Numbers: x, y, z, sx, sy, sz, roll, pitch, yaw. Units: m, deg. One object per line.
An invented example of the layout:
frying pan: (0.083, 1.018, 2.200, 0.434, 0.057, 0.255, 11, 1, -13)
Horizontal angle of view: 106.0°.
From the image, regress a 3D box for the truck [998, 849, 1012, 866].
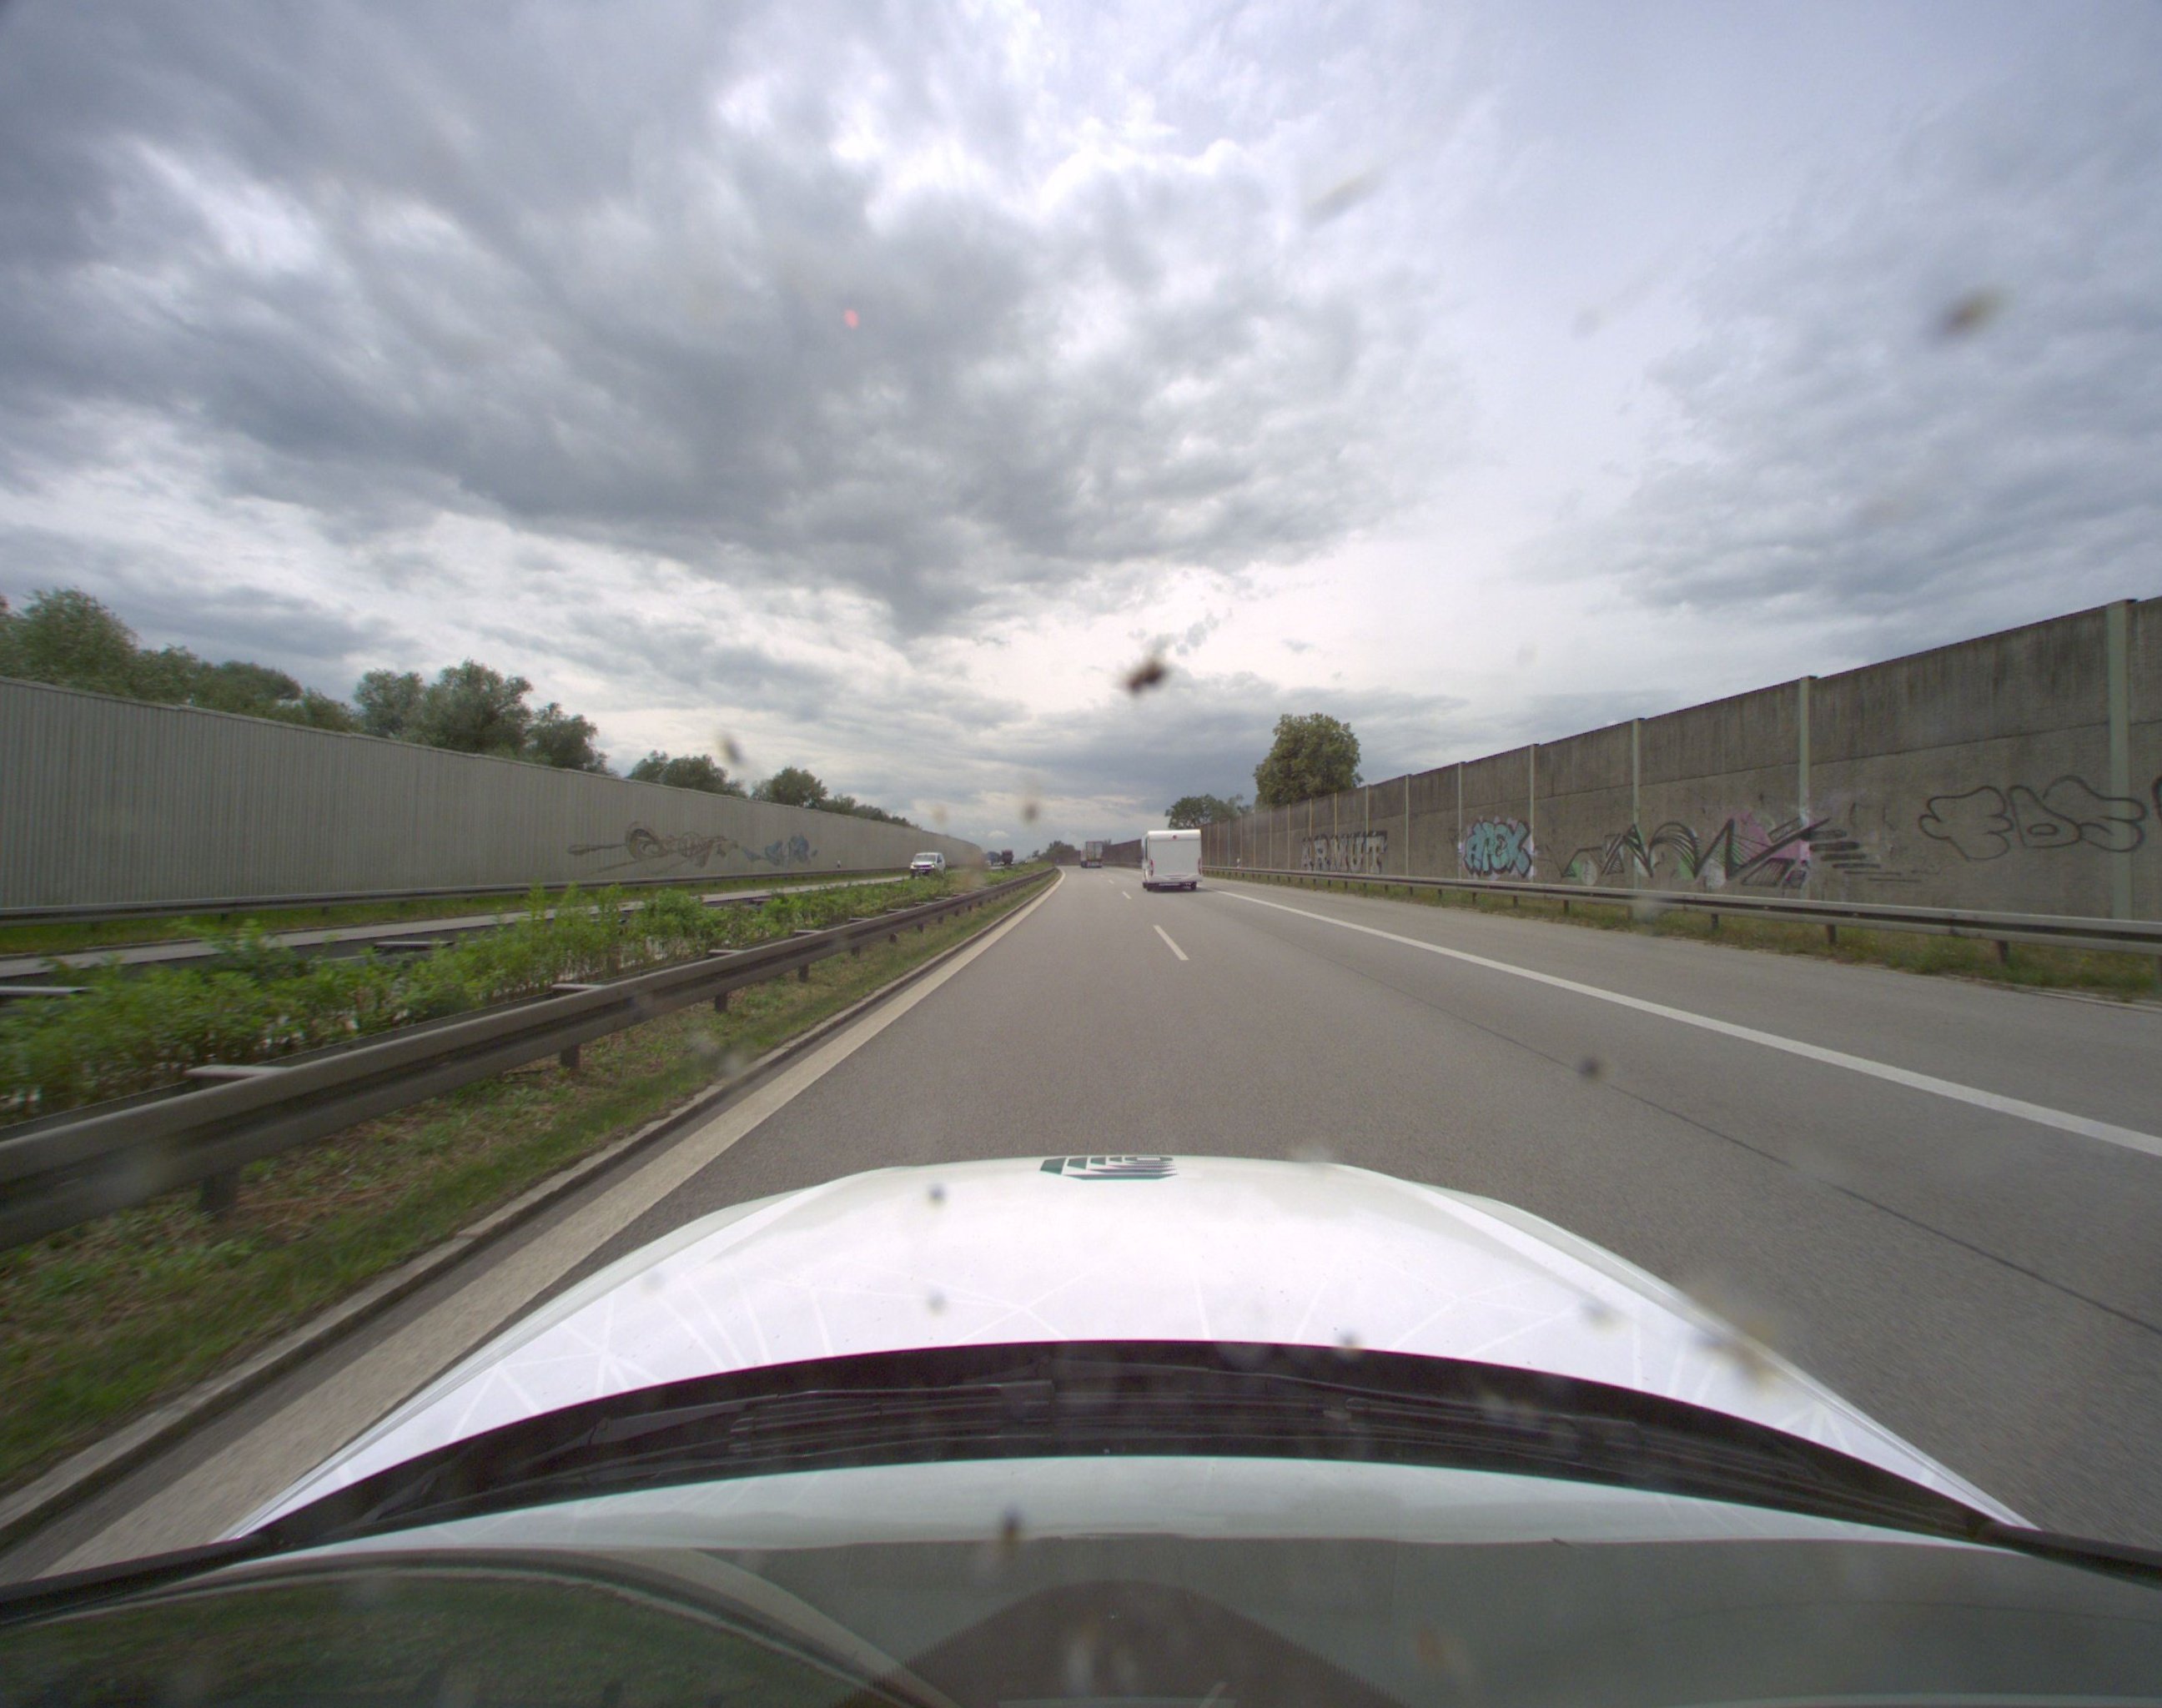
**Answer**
truck: (-18.209, 0.796, 194.989, 2.867, 3.859, 6.068, -2, -1, -3)

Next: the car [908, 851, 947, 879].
car: (-10.528, 0.741, 56.239, 1.736, 1.744, 4.627, -1, 0, 0)

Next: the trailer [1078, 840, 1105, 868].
trailer: (1.520, 0.066, 129.228, 2.789, 4.175, 14.074, 0, 0, -6)

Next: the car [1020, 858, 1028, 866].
car: (-12.558, 1.749, 179.770, 1.712, 1.642, 4.697, -1, 0, -4)

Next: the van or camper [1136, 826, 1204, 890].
van or camper: (4.009, 0.187, 38.036, 2.421, 2.697, 7.224, -1, 0, 0)

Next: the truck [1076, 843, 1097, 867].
truck: (0.869, 0.198, 135.563, 2.753, 3.960, 5.663, -1, -1, -7)
